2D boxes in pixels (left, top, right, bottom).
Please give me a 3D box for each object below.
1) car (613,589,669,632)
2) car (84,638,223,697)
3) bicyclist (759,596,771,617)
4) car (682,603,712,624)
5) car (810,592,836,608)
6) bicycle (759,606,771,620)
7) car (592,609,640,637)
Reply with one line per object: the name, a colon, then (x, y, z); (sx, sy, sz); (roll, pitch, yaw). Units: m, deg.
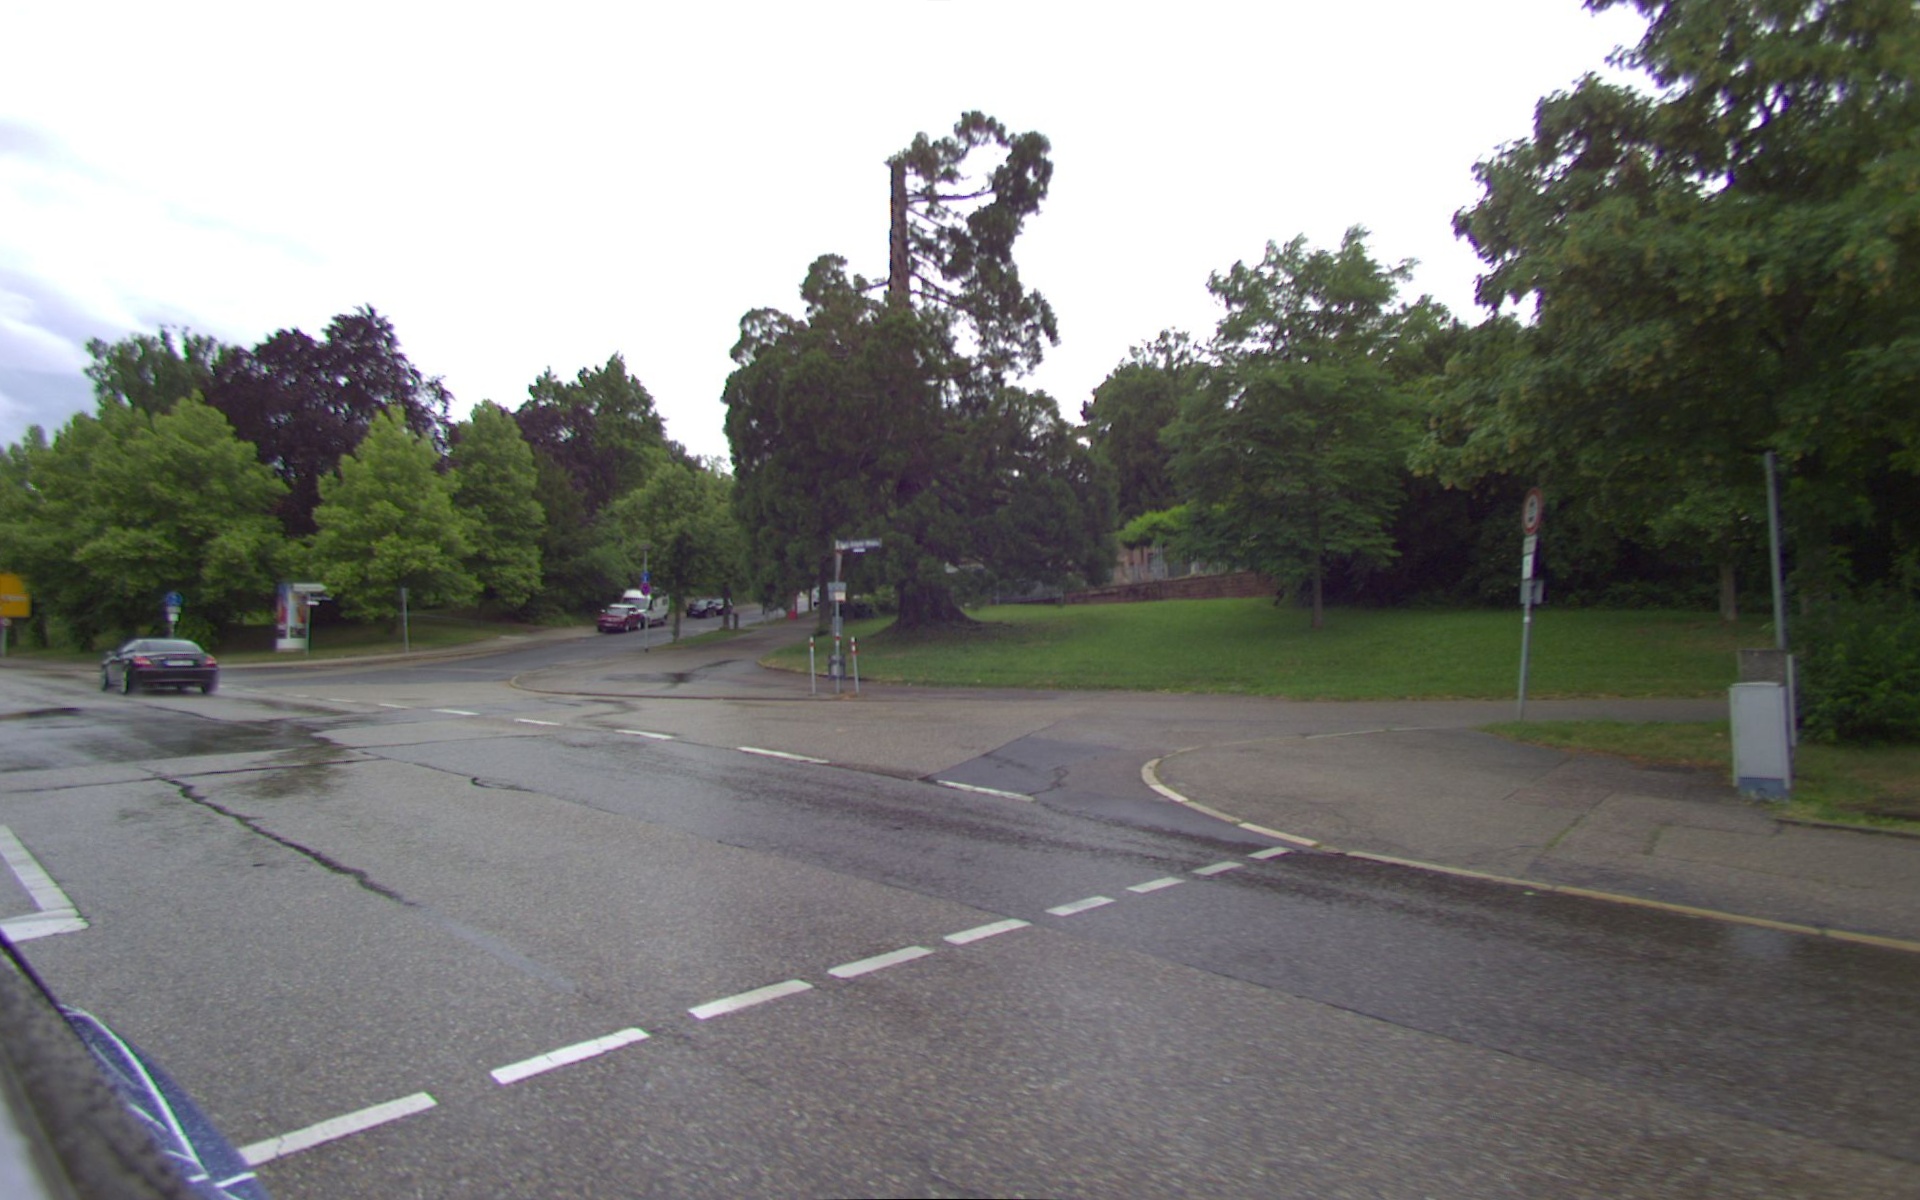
car: (-21.486, 0.722, 68.412); (2.126, 2.720, 5.671); (-1, -1, -1)
car: (-19.534, 1.627, 24.473); (4.077, 1.316, 1.645); (-2, -5, 38)
bicyclist: (-16.908, 0.607, 87.778); (0.841, 1.769, 1.287); (2, -2, -7)
car: (-21.491, 1.093, 82.838); (1.799, 1.681, 4.006); (0, -1, -7)
car: (-14.959, 0.018, 110.722); (1.852, 1.682, 4.197); (-1, 0, 5)
bicycle: (-16.921, 1.141, 87.746); (0.841, 1.164, 2.041); (2, -1, -7)
car: (-21.357, 1.418, 62.919); (1.947, 1.681, 4.005); (0, -1, -5)
